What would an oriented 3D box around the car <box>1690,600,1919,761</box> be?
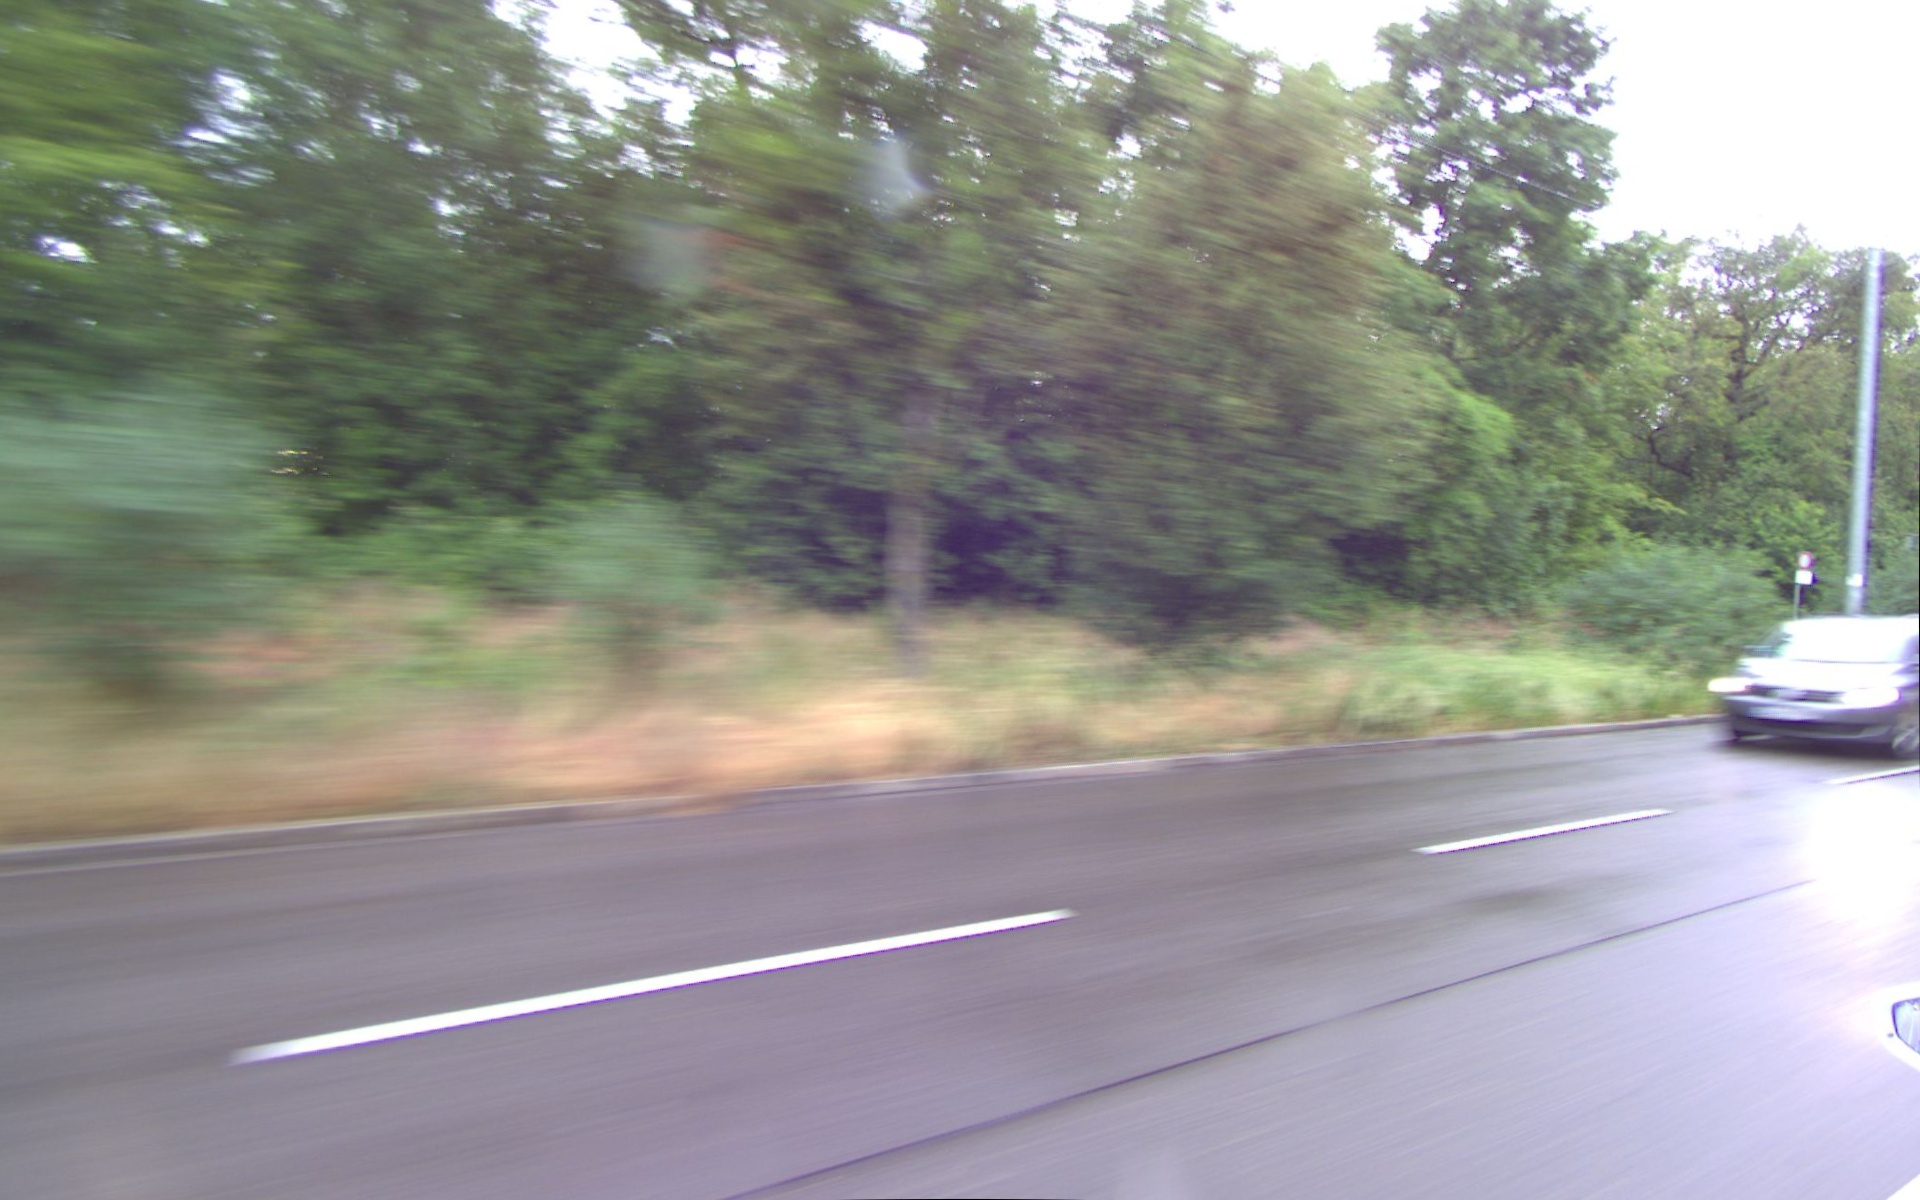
[{"bbox_3d":[10.996,0.894,12.357,4.036,1.632,1.763,1,1,-31],"label":"car"}]
